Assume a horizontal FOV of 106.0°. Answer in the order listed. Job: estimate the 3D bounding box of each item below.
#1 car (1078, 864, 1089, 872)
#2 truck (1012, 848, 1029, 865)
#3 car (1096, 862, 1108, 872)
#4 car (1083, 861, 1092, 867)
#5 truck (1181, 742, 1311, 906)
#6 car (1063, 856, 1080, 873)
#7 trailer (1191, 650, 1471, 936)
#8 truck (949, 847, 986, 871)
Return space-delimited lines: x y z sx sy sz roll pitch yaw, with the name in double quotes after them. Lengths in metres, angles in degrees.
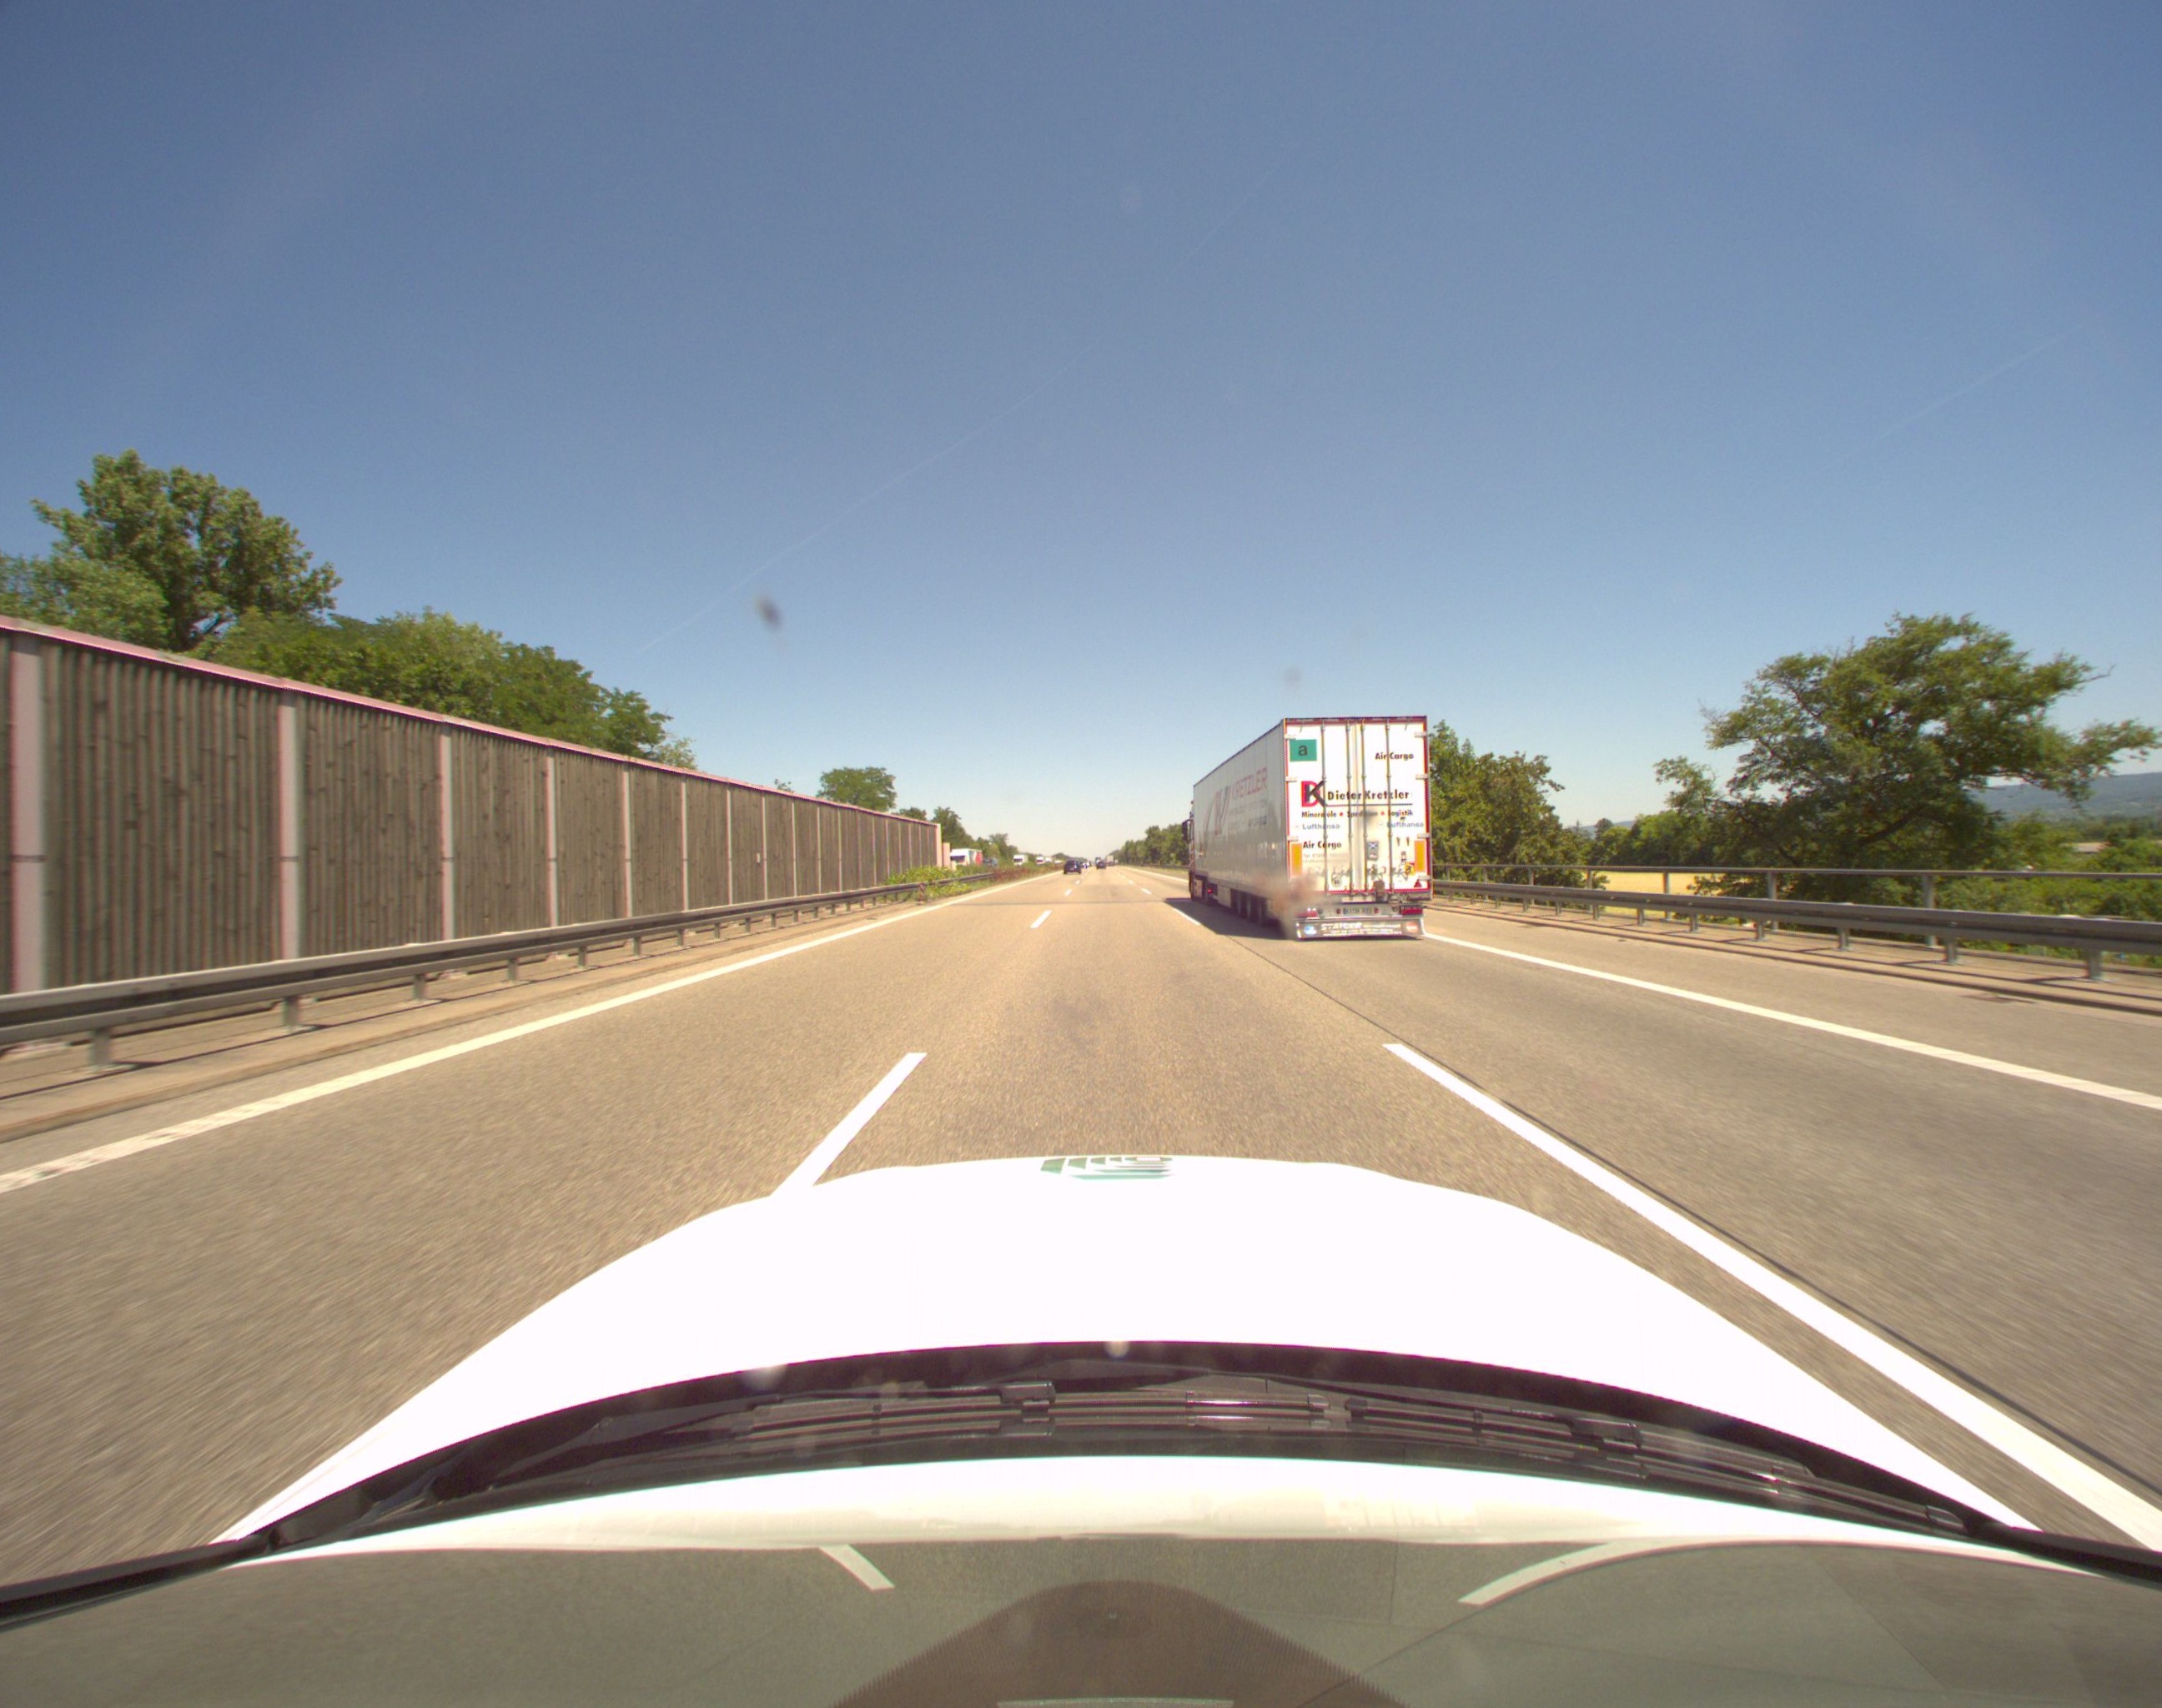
0.580 2.806 164.097 2.121 1.645 4.305 -2 -1 2 "car"
-16.062 0.667 215.620 3.568 4.103 7.841 -2 -1 1 "truck"
3.697 2.326 143.340 1.896 1.584 4.305 -2 -1 2 "car"
1.772 2.700 224.080 2.121 1.645 4.305 -2 -1 2 "car"
5.399 -0.918 28.025 3.222 4.889 6.974 -1 0 2 "truck"
-1.085 1.204 93.490 1.874 1.792 3.999 -1 0 0 "car"
5.196 -1.050 20.897 3.257 4.837 14.034 -1 0 2 "trailer"
-17.571 0.699 126.947 2.827 3.342 17.011 -1 0 2 "truck"
